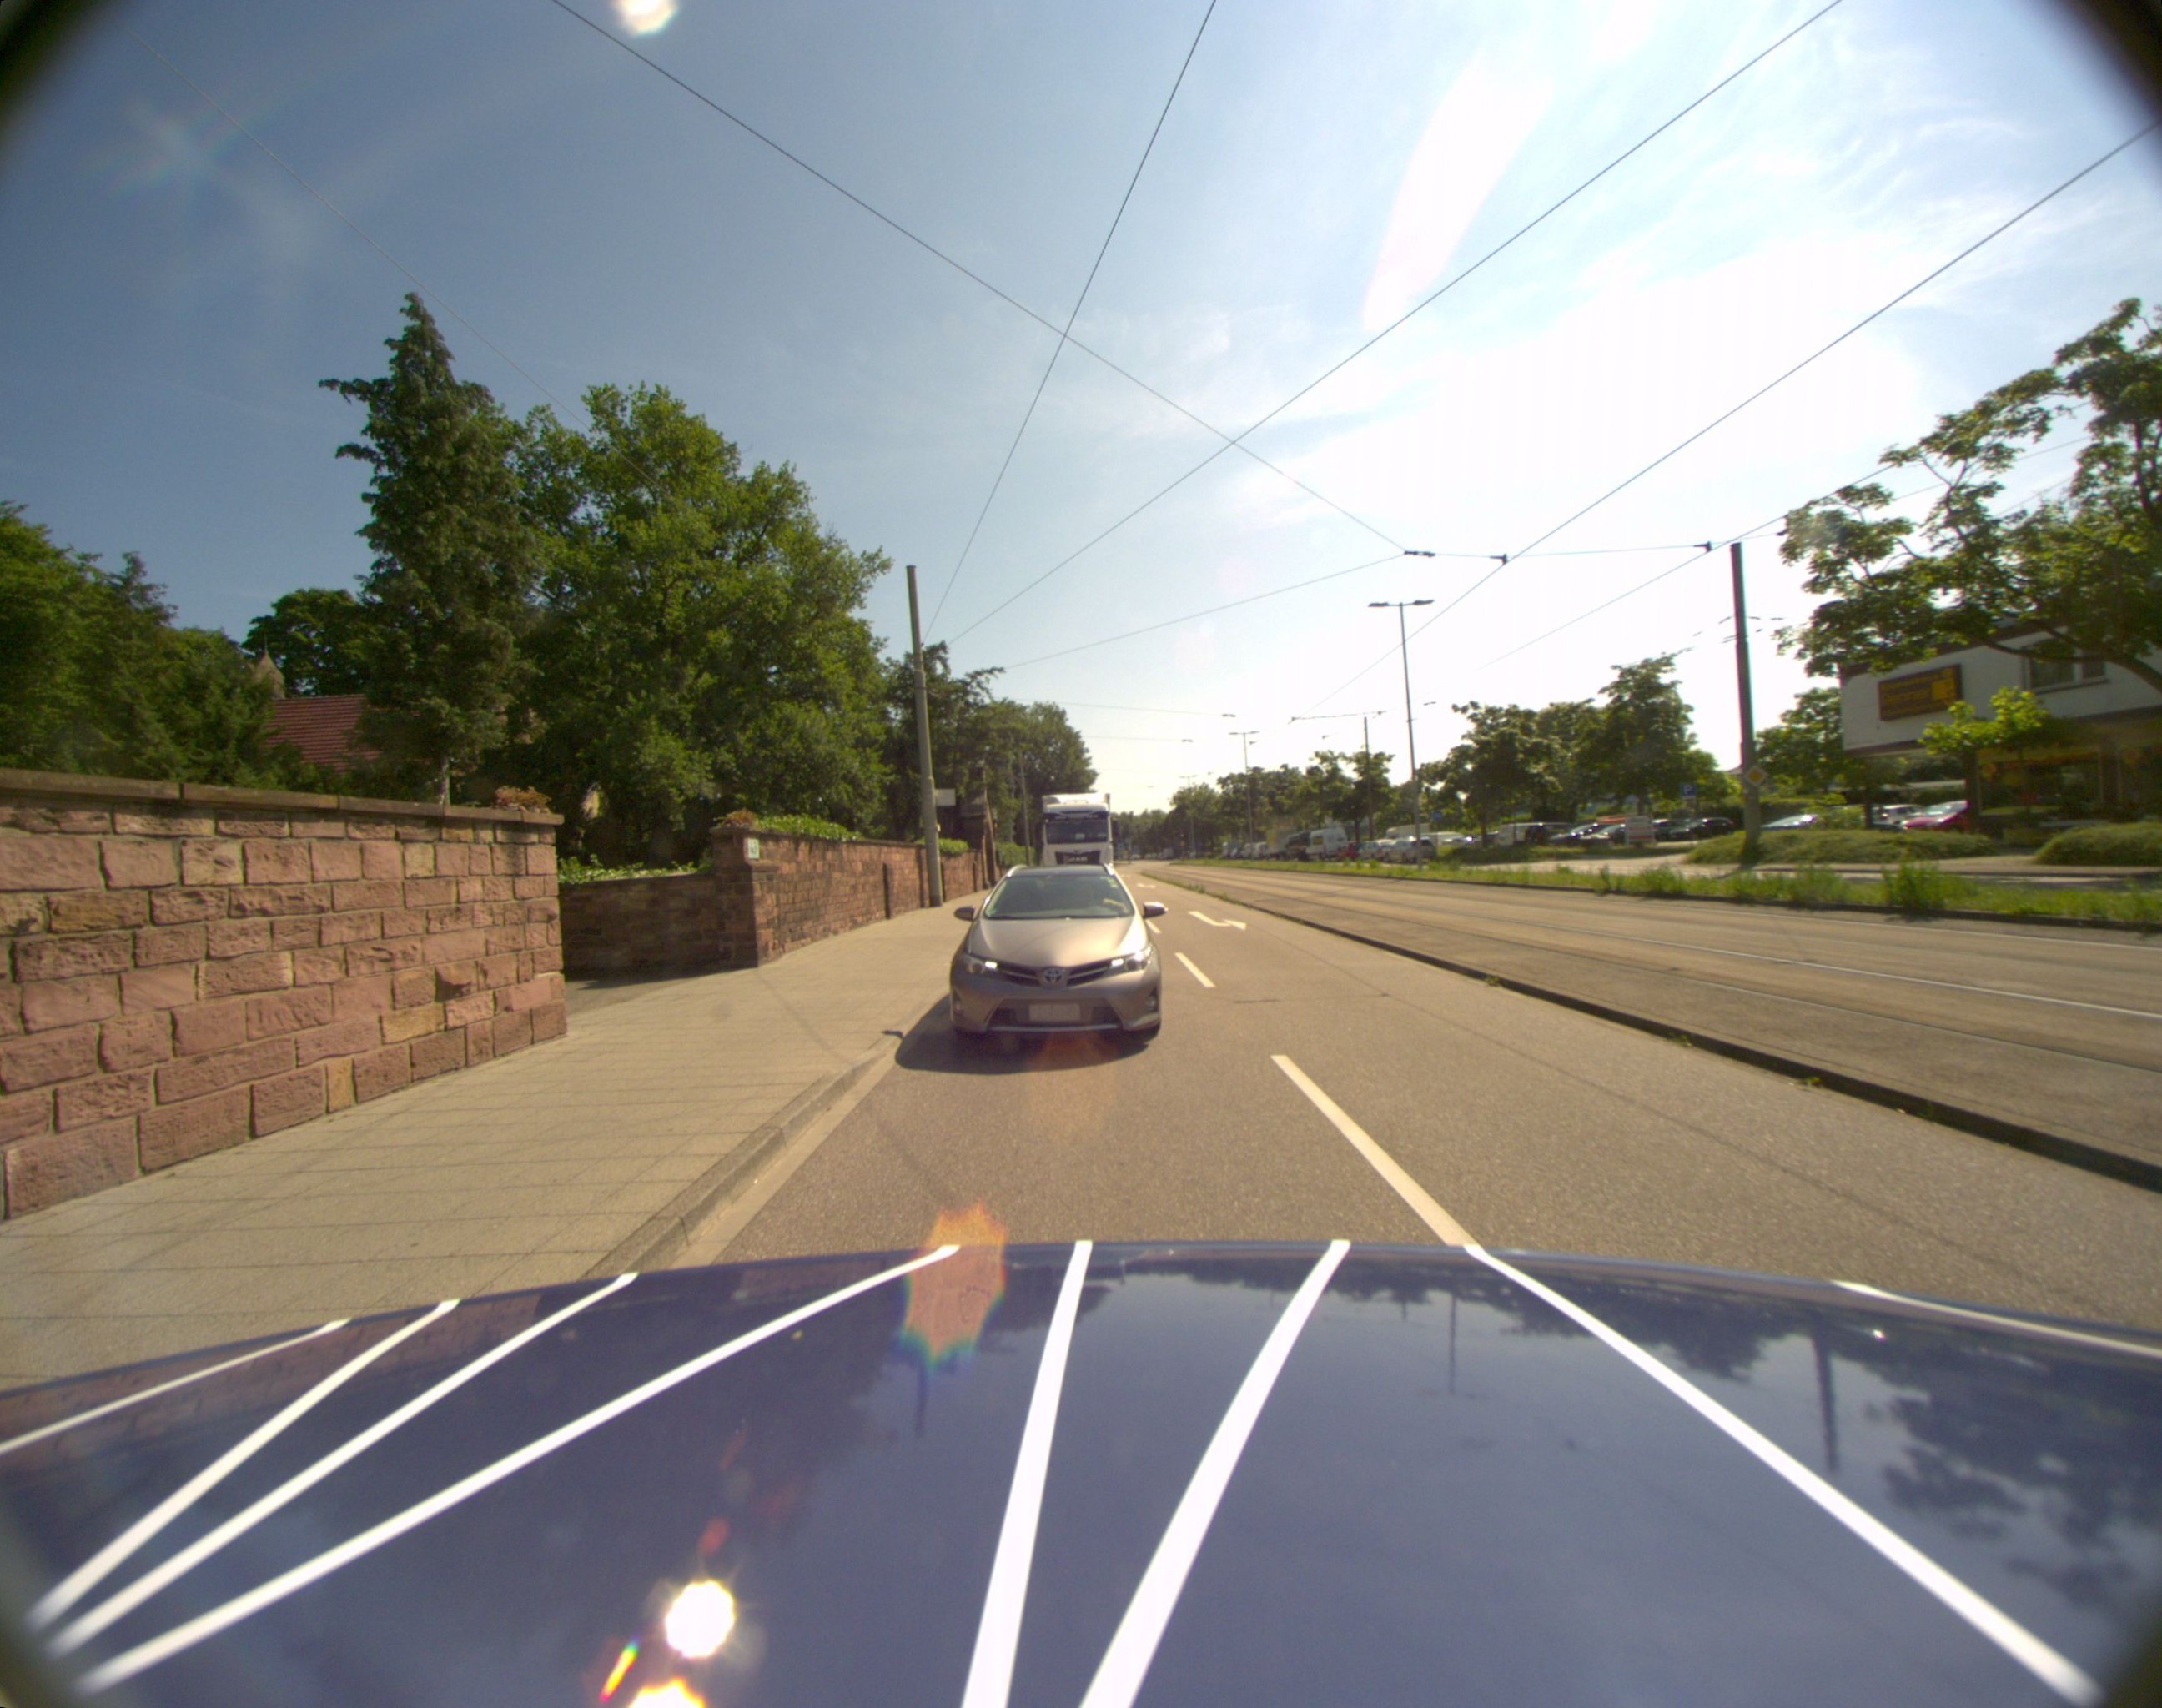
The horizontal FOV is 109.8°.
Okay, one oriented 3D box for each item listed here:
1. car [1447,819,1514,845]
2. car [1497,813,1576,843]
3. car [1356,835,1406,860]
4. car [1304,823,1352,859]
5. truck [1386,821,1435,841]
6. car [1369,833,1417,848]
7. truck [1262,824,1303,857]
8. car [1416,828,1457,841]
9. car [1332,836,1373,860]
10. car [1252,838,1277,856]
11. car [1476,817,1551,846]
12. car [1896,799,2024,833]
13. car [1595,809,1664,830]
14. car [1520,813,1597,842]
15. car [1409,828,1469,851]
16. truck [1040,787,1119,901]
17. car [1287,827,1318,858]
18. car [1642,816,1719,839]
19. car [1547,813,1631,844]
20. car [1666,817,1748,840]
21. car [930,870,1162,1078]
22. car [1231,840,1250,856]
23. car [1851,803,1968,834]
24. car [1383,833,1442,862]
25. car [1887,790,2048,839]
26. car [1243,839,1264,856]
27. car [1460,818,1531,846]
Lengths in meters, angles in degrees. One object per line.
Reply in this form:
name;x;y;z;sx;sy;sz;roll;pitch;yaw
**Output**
car;31.263;-1.701;59.569;4.117;1.728;1.990;-4;0;-2
car;30.668;-1.748;51.257;4.117;1.728;1.990;-4;0;-2
car;20.469;-0.432;52.008;1.675;1.524;4.256;-6;0;1
car;20.245;-1.025;62.504;2.062;2.638;5.203;-6;0;1
truck;44.946;-3.157;103.717;5.652;2.367;1.990;-4;0;-2
car;32.366;-1.379;78.987;4.253;1.327;1.676;-4;0;1
truck;20.494;-1.351;77.565;2.508;2.917;5.903;-6;0;2
car;43.796;-2.389;93.623;4.253;1.327;1.676;-4;0;1
car;20.421;-0.450;57.261;1.675;1.524;3.793;-6;0;1
car;20.712;-0.776;85.931;1.502;1.793;4.633;-6;0;1
car;30.559;-1.556;53.731;4.117;1.728;1.990;-4;0;-2
car;43.806;-1.866;37.924;4.252;1.327;1.676;-4;0;2
car;44.062;-2.769;61.098;4.253;1.327;1.676;-4;0;-1
car;30.596;-1.683;48.792;3.810;1.625;1.676;-4;0;2
car;31.207;-1.229;66.471;2.594;1.800;5.741;-4;0;2
truck;0.055;-0.375;31.197;2.628;3.906;9.285;-2;1;1
car;20.046;-1.010;68.905;1.502;2.609;4.007;-6;0;1
car;44.276;-1.942;56.156;4.252;1.327;1.676;-4;0;2
car;30.531;-1.513;45.707;3.810;1.625;1.676;-4;0;2
car;43.951;-1.758;53.412;4.252;1.327;1.676;-4;0;2
car;-0.238;0.927;7.584;1.654;1.374;4.000;-2;0;1
car;20.693;-0.768;98.673;1.502;1.775;3.687;-6;0;0
car;44.411;-1.900;40.793;4.252;1.327;1.676;-4;0;2
car;20.290;-0.398;46.695;1.675;1.524;4.256;-6;0;1
car;35.228;-1.552;30.270;4.252;1.595;1.676;-4;0;2
car;21.008;-0.760;92.725;1.502;1.835;4.059;-6;0;0
car;30.615;-1.624;56.238;4.117;1.728;1.990;-4;0;-2
